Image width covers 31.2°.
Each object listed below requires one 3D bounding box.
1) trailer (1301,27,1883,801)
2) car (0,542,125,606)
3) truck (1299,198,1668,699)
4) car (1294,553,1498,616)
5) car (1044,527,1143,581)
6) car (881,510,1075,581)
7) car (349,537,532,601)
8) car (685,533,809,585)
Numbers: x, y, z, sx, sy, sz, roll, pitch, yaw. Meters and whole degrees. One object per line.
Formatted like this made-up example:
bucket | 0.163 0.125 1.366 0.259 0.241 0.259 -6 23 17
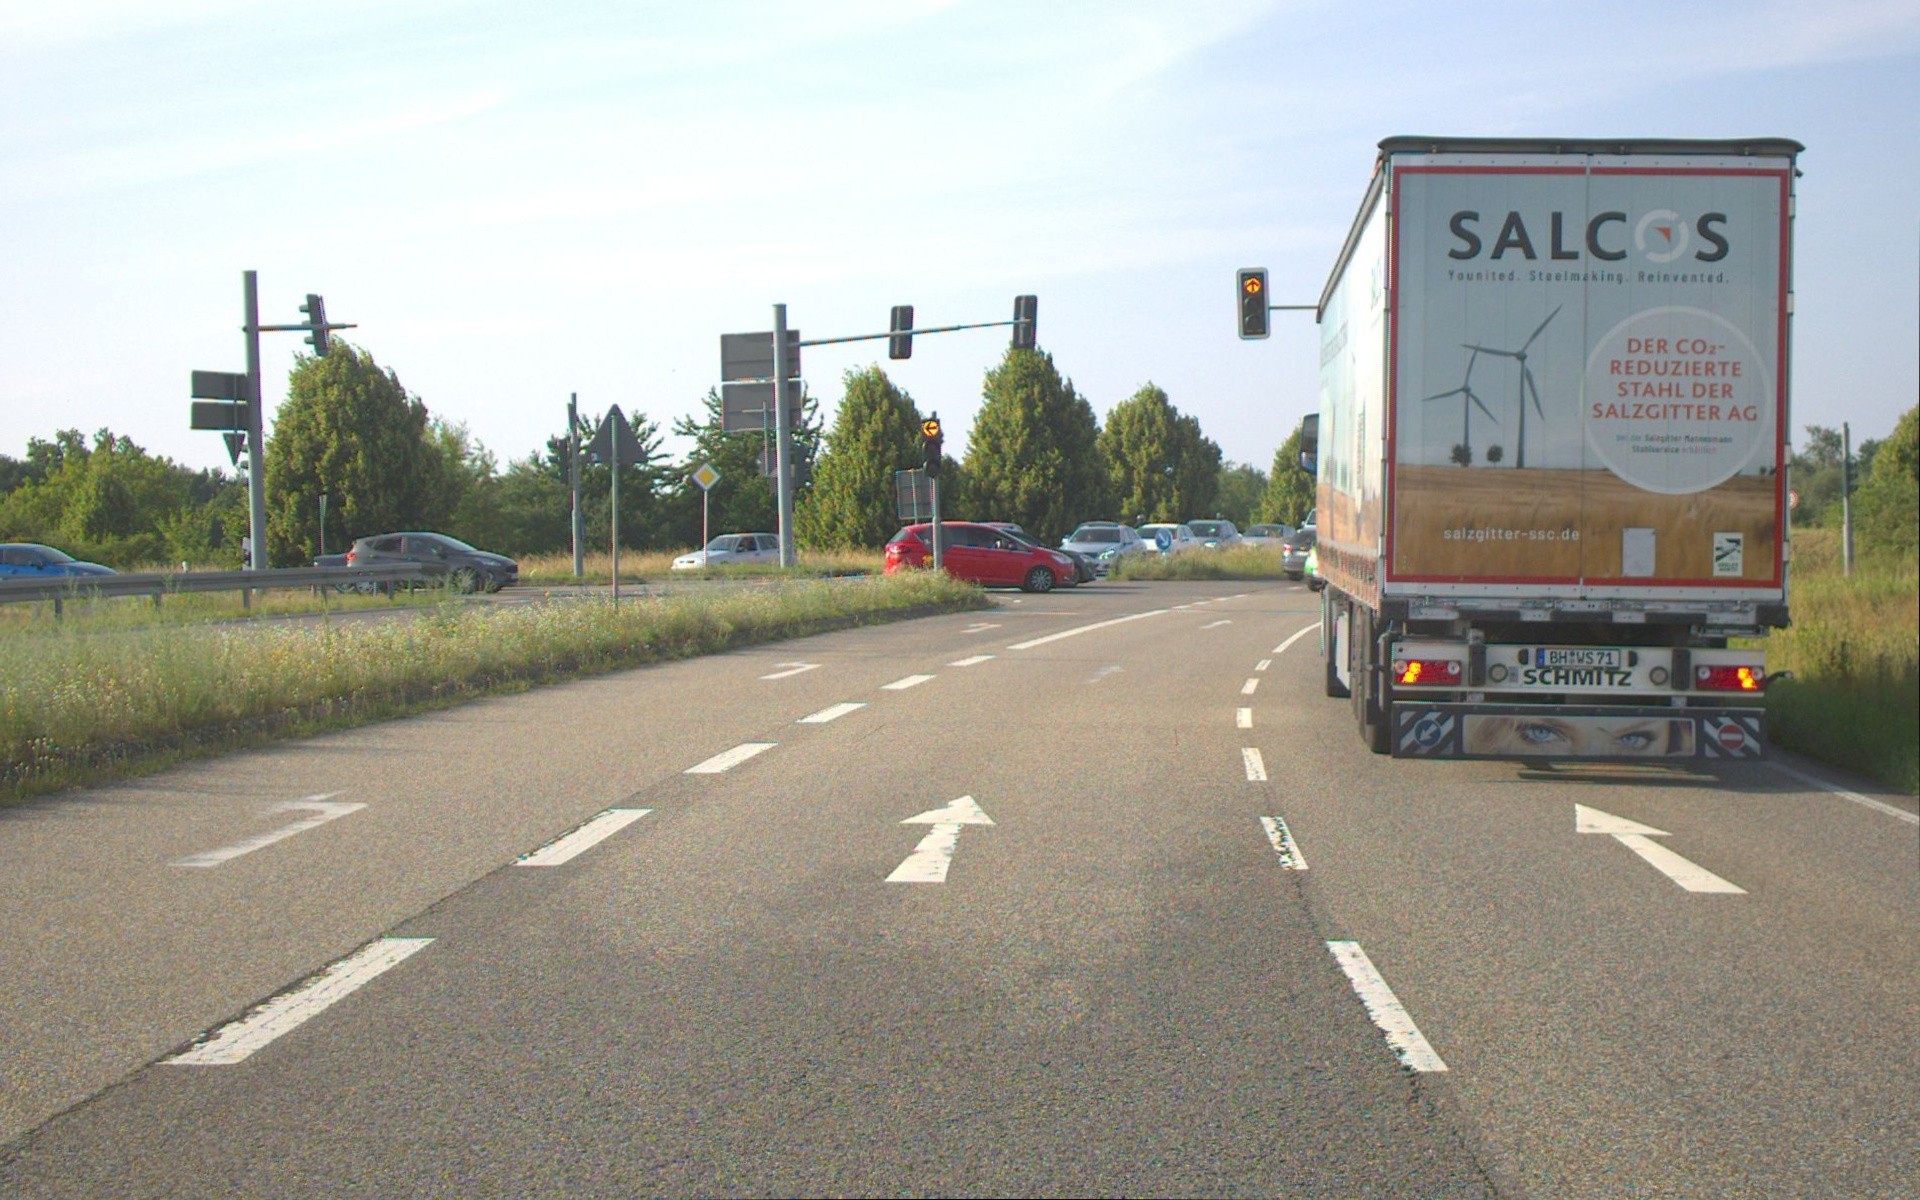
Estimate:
trailer | 4.470 -1.278 27.426 3.282 4.665 13.146 1 1 5
car | -22.140 -0.635 81.963 3.974 1.487 1.777 1 1 13
truck | 5.153 -1.473 34.909 3.301 4.641 5.731 1 1 5
car | 10.362 -0.362 81.791 4.420 1.412 1.921 1 0 -16
car | 3.853 -1.336 98.452 1.787 1.483 4.648 0 1 16
car | 0.393 -1.242 78.852 4.263 1.559 1.902 1 0 -6
car | -12.020 -0.708 79.636 3.784 1.411 1.920 1 0 8
car | -6.252 -1.212 100.880 3.183 1.487 1.779 0 1 -25
